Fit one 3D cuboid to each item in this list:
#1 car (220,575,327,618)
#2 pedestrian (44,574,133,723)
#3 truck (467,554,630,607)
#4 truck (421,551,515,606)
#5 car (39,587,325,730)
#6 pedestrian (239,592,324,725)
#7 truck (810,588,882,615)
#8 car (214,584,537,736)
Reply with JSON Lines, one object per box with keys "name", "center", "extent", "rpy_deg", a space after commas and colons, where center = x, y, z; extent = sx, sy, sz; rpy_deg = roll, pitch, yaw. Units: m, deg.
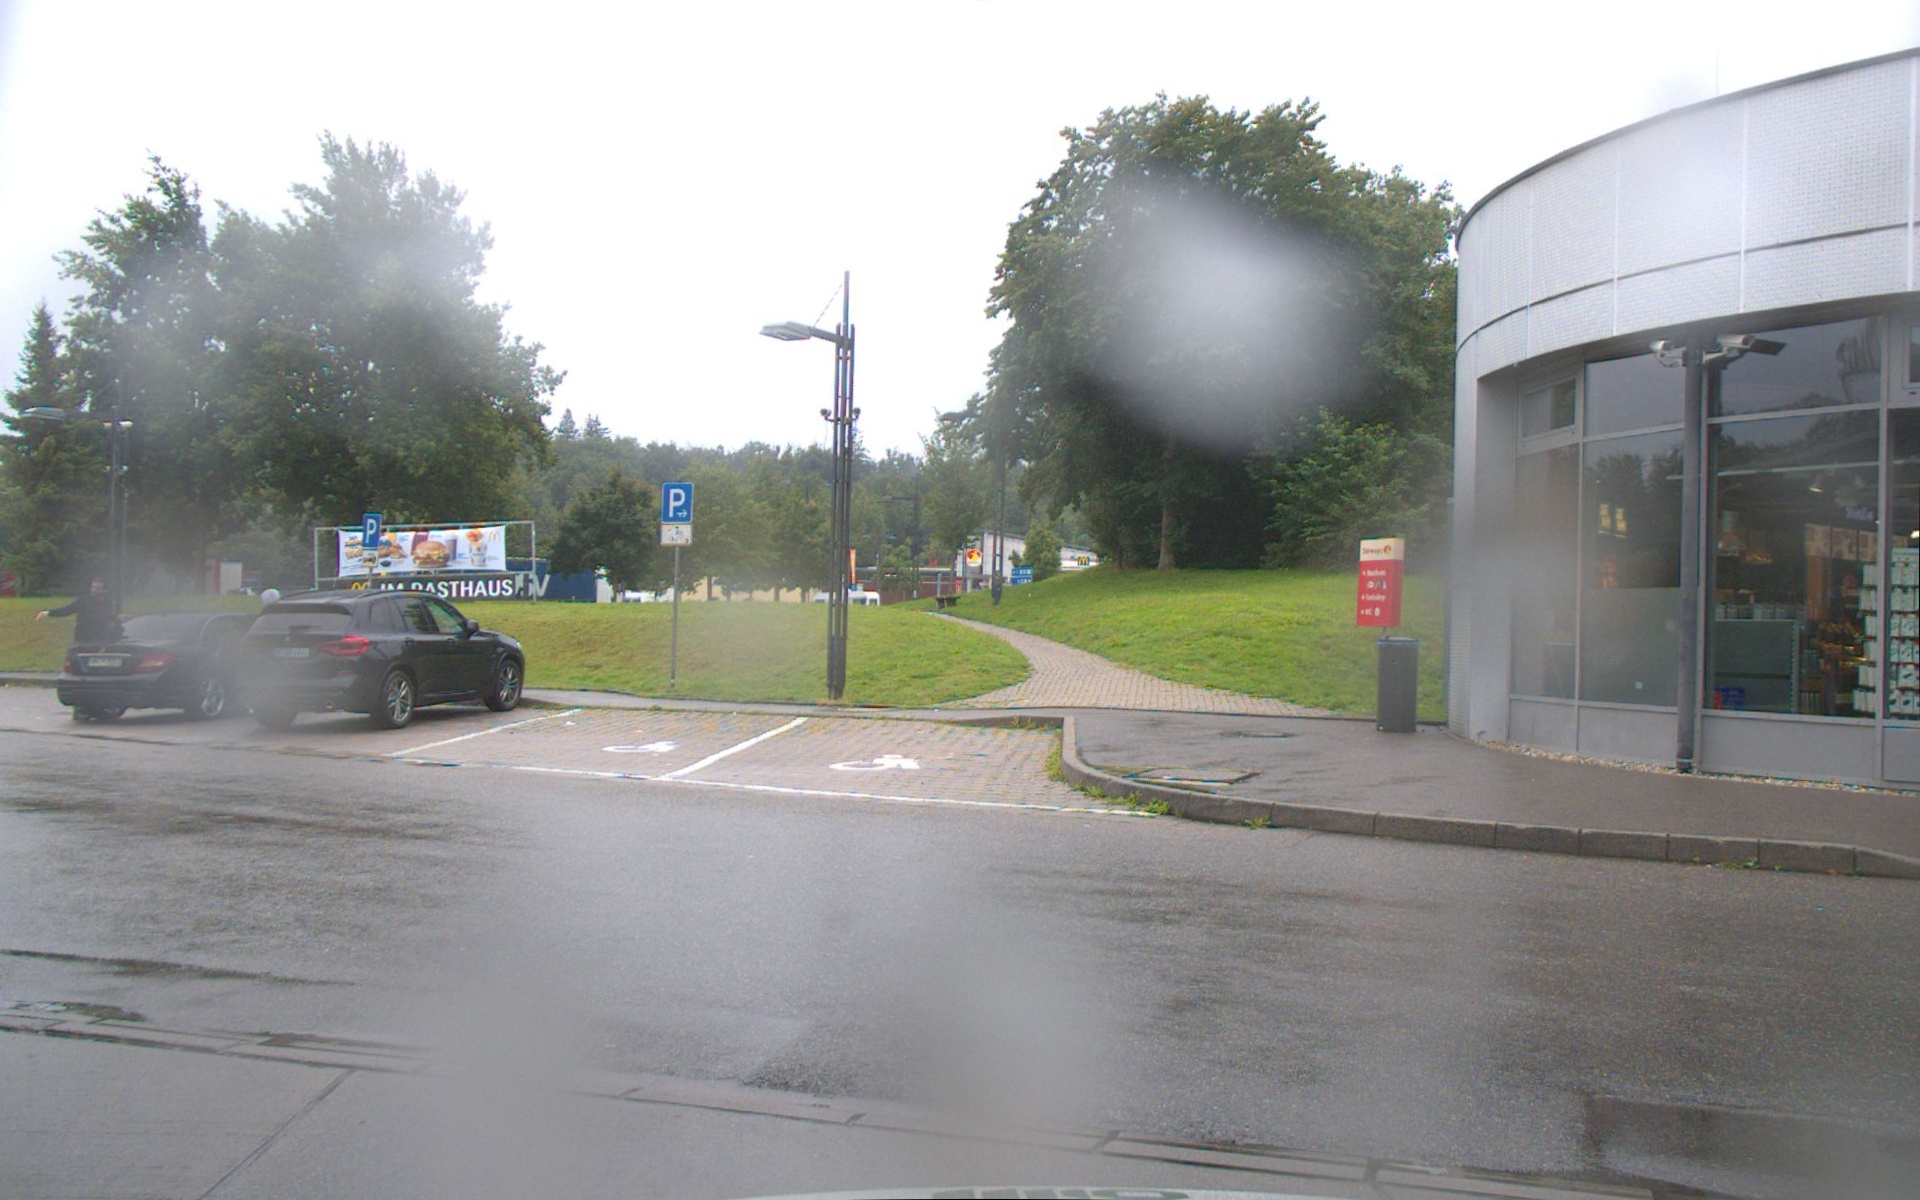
{"name": "car", "center": [-30.453, -0.140, 73.418], "extent": [4.092, 1.814, 1.820], "rpy_deg": [1, 0, -37]}
{"name": "pedestrian", "center": [-11.562, 0.630, 21.938], "extent": [0.875, 1.920, 0.701], "rpy_deg": [1, -1, 35]}
{"name": "truck", "center": [-24.927, -1.096, 101.283], "extent": [2.142, 2.971, 13.092], "rpy_deg": [1, 0, 23]}
{"name": "truck", "center": [-27.978, -1.180, 94.269], "extent": [2.142, 2.971, 5.384], "rpy_deg": [1, 0, 24]}
{"name": "car", "center": [-10.578, 0.714, 22.902], "extent": [1.976, 1.741, 4.342], "rpy_deg": [-1, 1, -2]}
{"name": "pedestrian", "center": [-8.704, 0.738, 21.221], "extent": [0.939, 1.660, 0.698], "rpy_deg": [1, -1, -26]}
{"name": "truck", "center": [-9.227, 0.133, 133.680], "extent": [5.298, 2.049, 2.366], "rpy_deg": [1, 0, 24]}
{"name": "car", "center": [-7.370, 0.689, 21.384], "extent": [1.973, 1.741, 4.347], "rpy_deg": [-1, 1, 11]}
